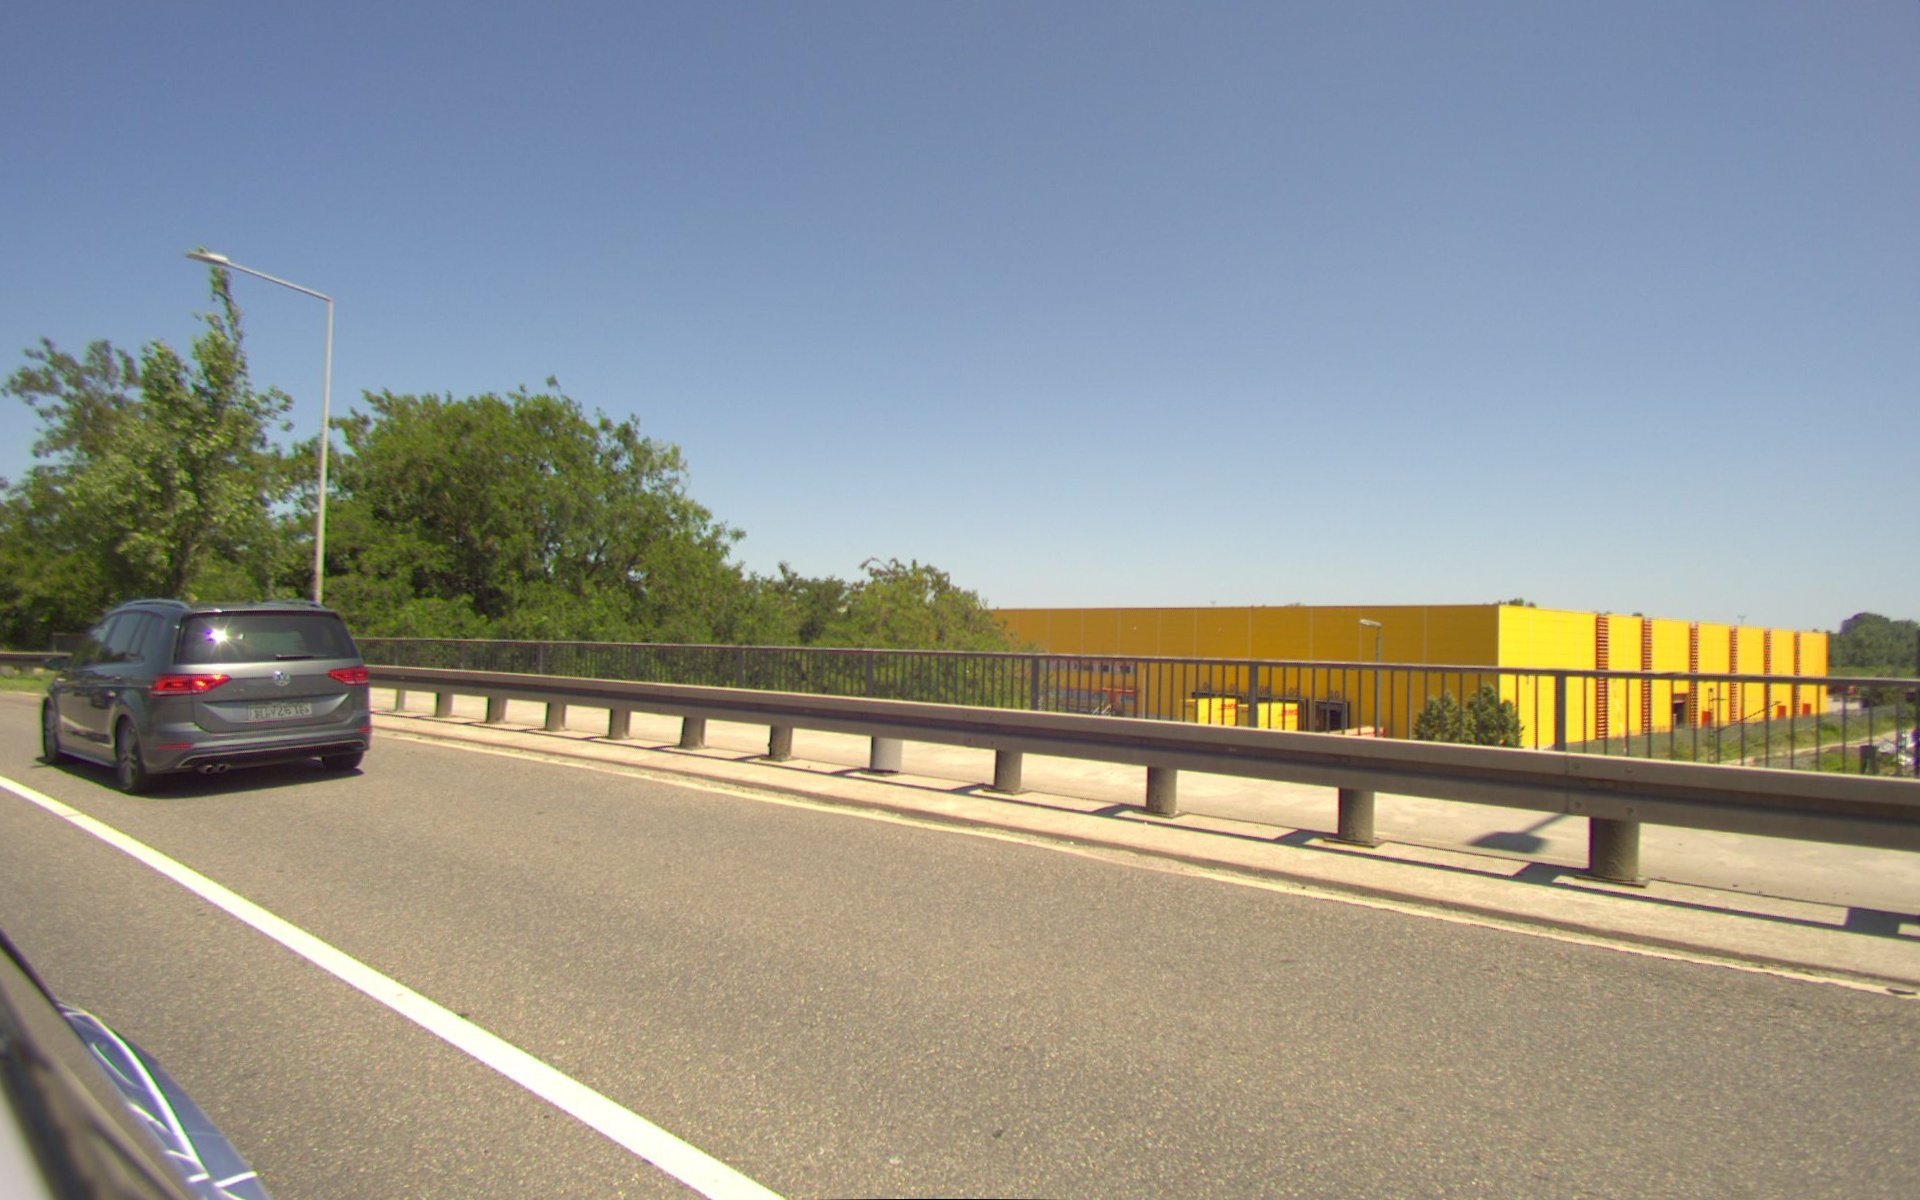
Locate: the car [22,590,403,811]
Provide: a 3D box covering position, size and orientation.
[{"bbox_3d":[-7.285,0.764,9.721,4.252,1.667,1.877,0,-1,38],"label":"car"}]
